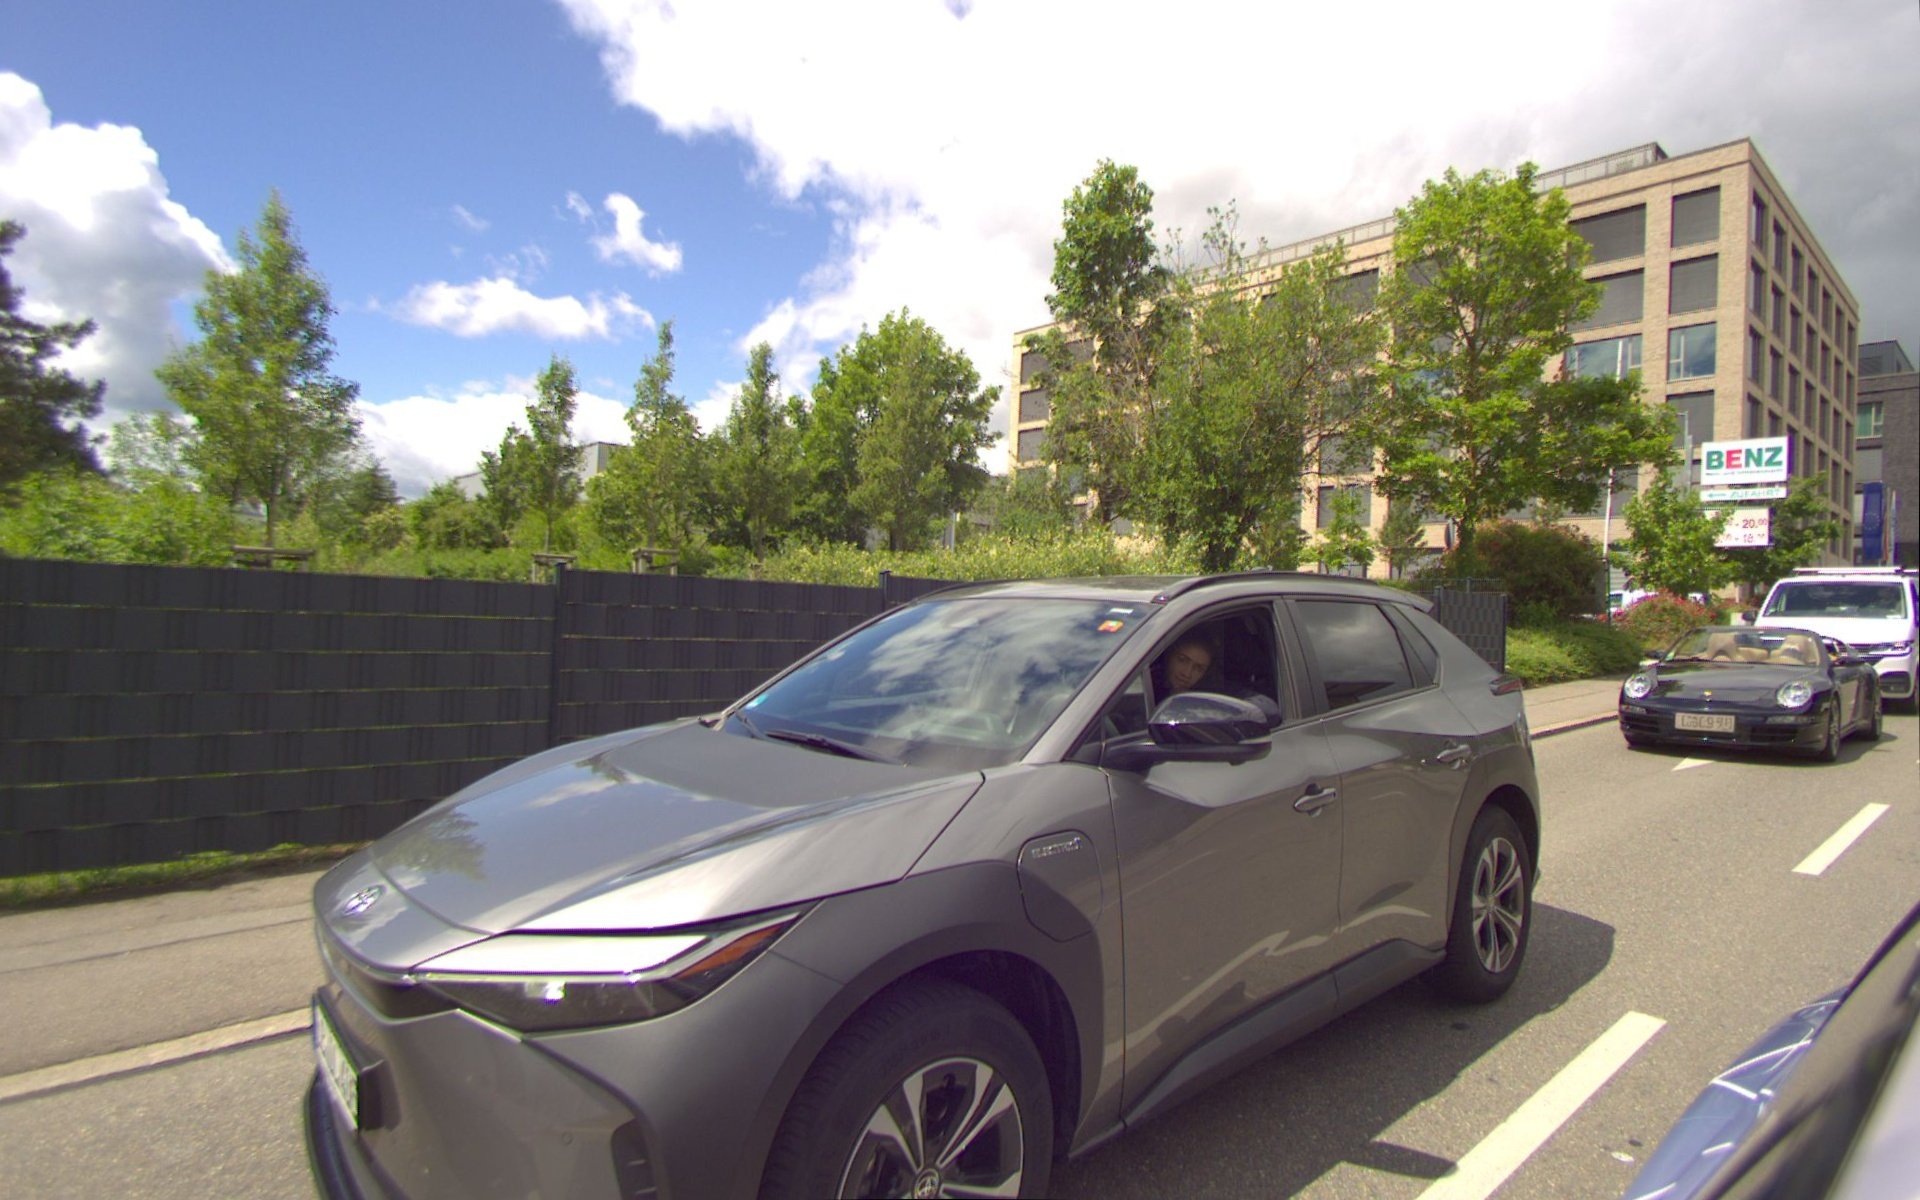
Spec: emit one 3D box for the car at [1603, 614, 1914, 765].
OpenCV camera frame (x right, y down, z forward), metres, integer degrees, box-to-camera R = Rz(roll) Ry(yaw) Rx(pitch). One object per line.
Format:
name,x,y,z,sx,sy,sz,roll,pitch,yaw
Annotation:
car,8.768,0.812,10.967,4.487,1.290,1.776,0,-1,-40

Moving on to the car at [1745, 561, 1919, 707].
car,13.509,0.459,15.119,4.563,1.874,1.962,0,-1,-41

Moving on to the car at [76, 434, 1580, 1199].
car,0.159,0.653,3.340,4.601,1.634,1.922,0,-1,-41

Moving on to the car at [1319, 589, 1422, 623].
car,19.342,0.262,47.817,1.705,1.436,4.215,1,1,-41

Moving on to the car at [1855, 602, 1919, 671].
car,20.496,0.724,21.235,4.485,1.290,1.778,0,1,-38

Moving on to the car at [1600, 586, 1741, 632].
car,27.463,0.309,39.224,1.707,1.596,4.211,1,1,-44
